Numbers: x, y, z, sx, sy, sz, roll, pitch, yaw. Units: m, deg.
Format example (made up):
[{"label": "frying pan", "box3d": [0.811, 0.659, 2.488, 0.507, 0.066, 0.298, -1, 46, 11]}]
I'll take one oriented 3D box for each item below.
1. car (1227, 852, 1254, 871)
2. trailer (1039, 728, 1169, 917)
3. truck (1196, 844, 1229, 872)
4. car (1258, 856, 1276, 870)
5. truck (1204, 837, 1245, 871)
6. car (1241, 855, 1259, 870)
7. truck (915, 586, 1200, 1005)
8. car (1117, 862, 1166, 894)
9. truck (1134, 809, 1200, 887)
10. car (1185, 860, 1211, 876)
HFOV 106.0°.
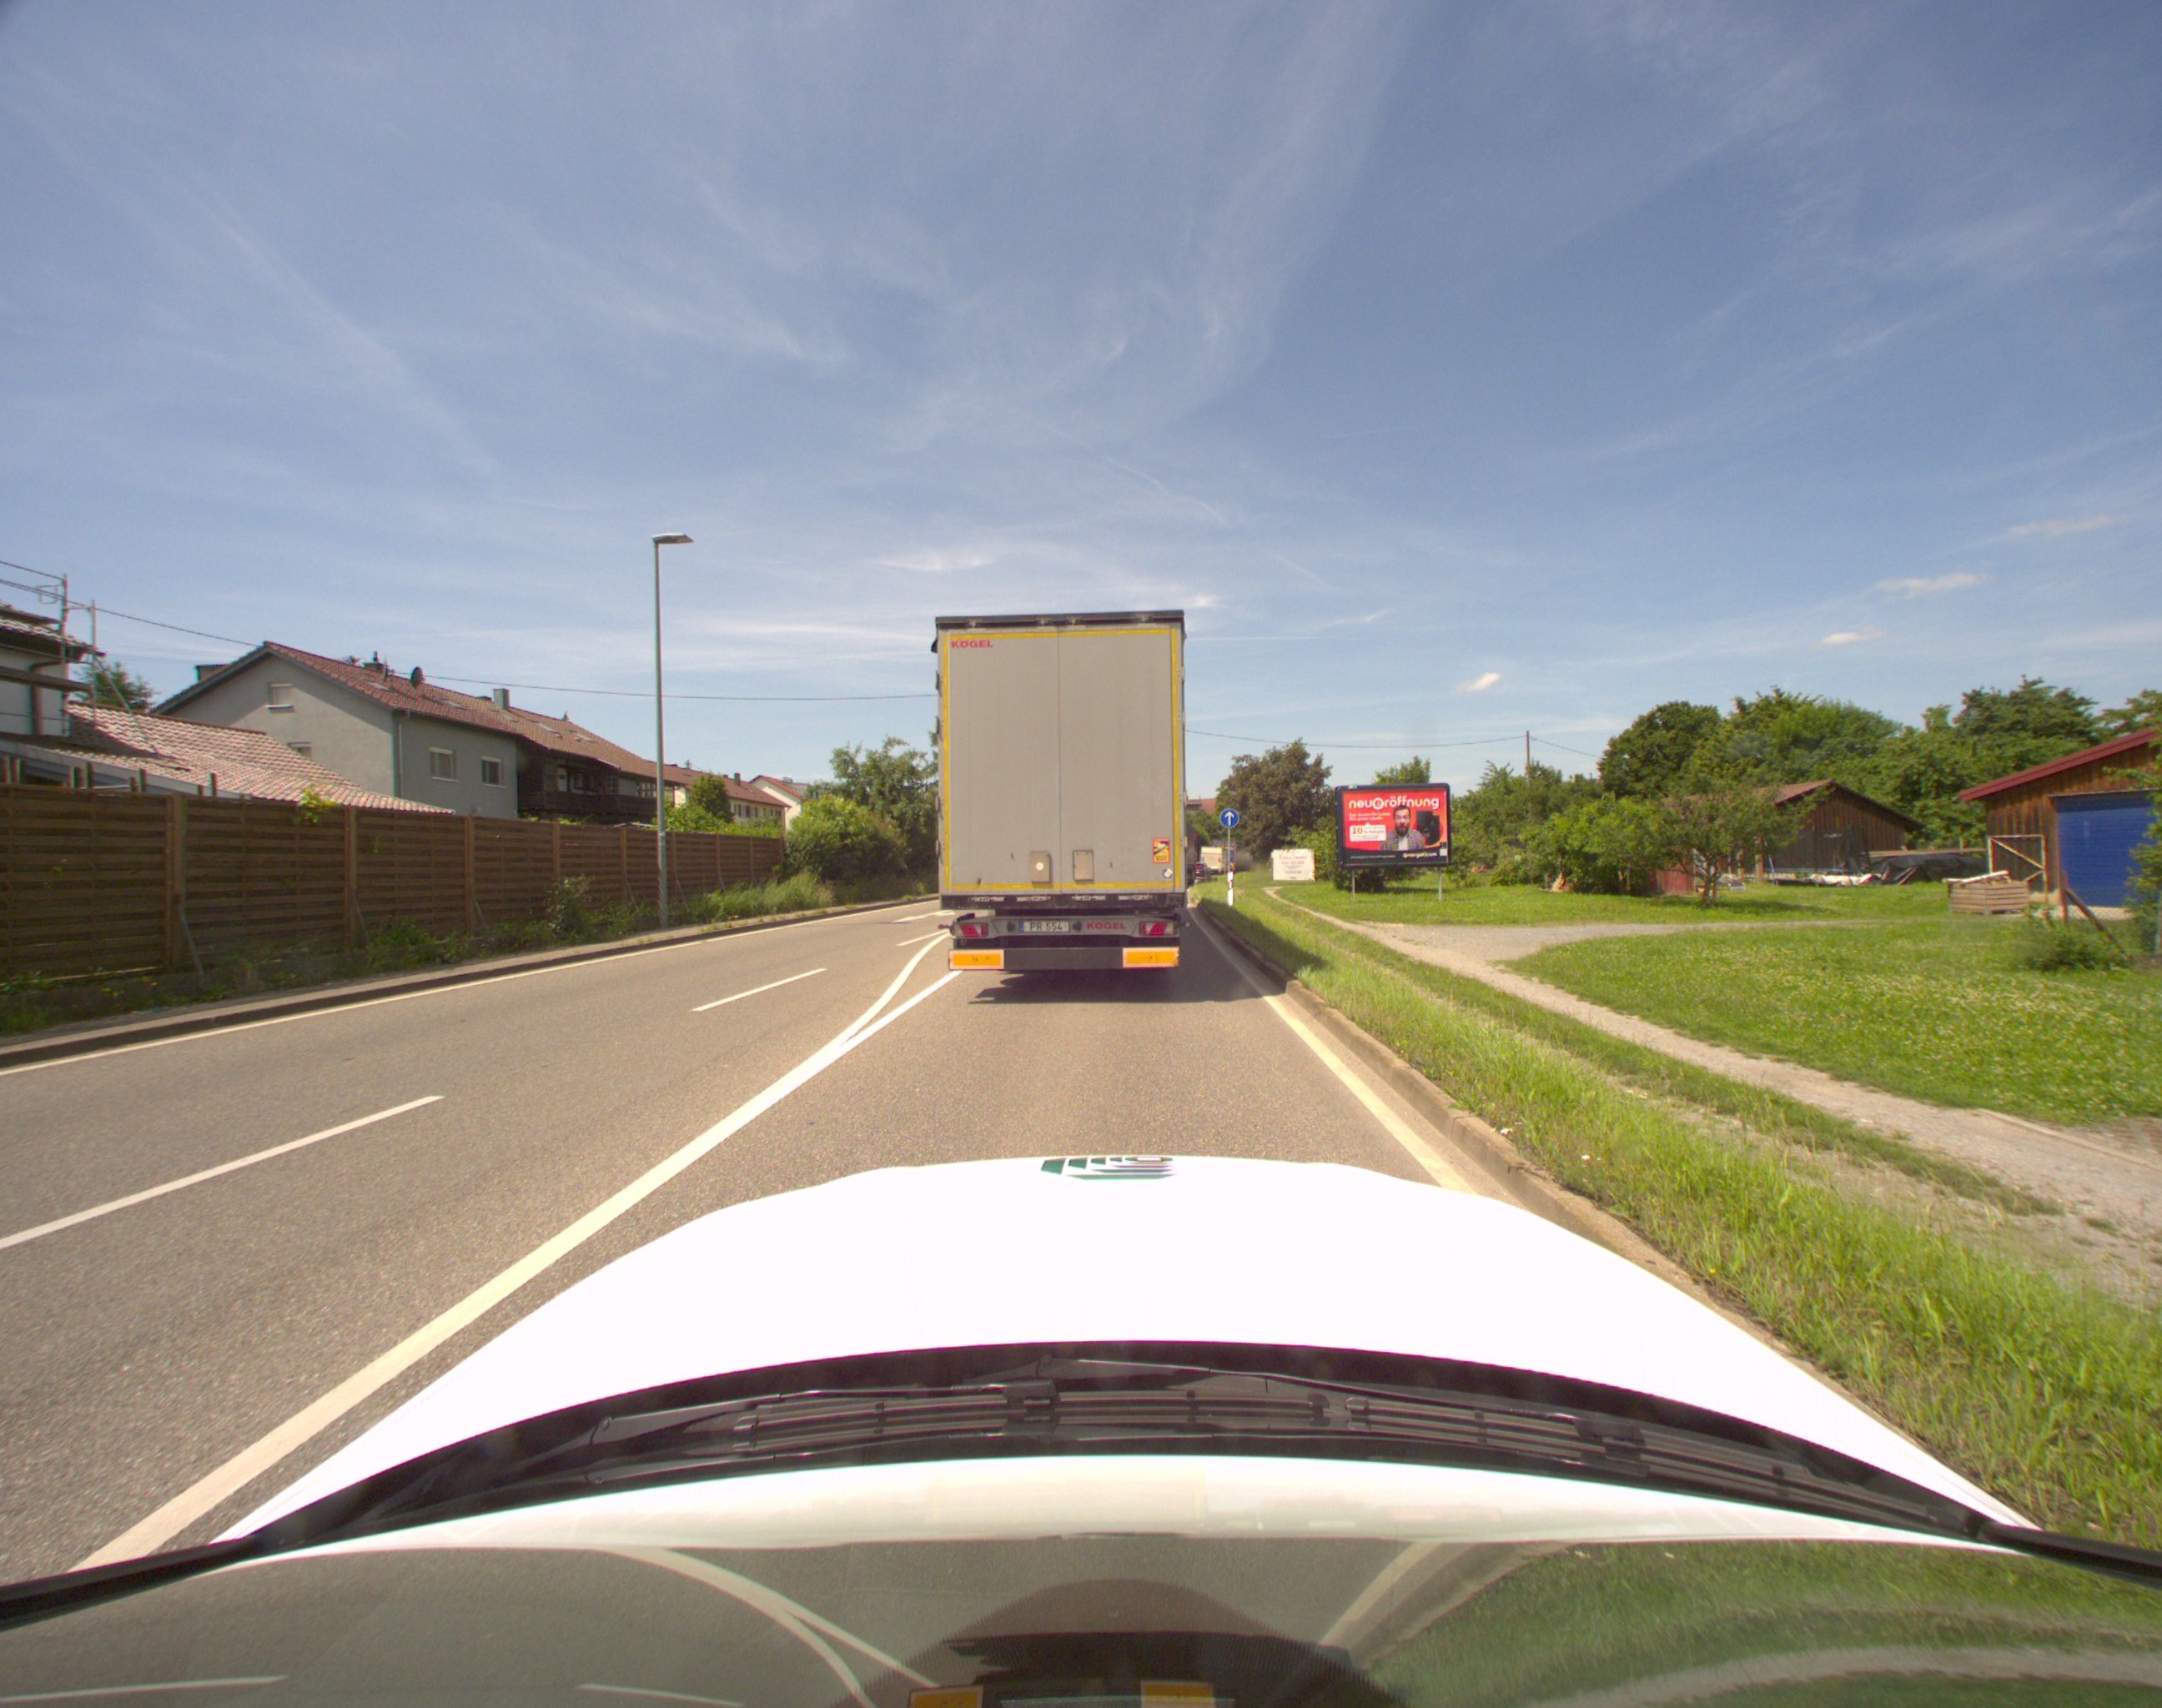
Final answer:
[{"label": "car", "box3d": [19.950, 0.953, 101.554, 2.512, 2.277, 6.410, 0, 0, 18]}, {"label": "trailer", "box3d": [0.745, -0.688, 21.245, 2.812, 4.111, 6.552, -1, 0, 4]}, {"label": "truck", "box3d": [13.454, 0.450, 82.896, 2.524, 2.803, 6.057, -1, -1, 16]}, {"label": "car", "box3d": [27.059, 1.356, 118.344, 1.976, 2.014, 4.021, -1, -1, 22]}, {"label": "truck", "box3d": [16.533, -0.012, 93.090, 3.406, 3.604, 9.396, -1, 0, 17]}, {"label": "car", "box3d": [22.904, 1.175, 110.432, 1.978, 2.014, 4.018, -1, -1, 18]}, {"label": "truck", "box3d": [0.185, -0.575, 13.812, 2.809, 4.127, 11.457, 0, 0, 4]}, {"label": "car", "box3d": [2.753, 1.055, 36.180, 1.808, 1.346, 3.857, 0, -1, 9]}, {"label": "truck", "box3d": [5.866, -0.208, 52.755, 2.742, 4.289, 16.464, 0, -1, 11]}, {"label": "car", "box3d": [10.676, 1.257, 74.297, 1.979, 1.376, 4.015, 0, -1, 14]}]
